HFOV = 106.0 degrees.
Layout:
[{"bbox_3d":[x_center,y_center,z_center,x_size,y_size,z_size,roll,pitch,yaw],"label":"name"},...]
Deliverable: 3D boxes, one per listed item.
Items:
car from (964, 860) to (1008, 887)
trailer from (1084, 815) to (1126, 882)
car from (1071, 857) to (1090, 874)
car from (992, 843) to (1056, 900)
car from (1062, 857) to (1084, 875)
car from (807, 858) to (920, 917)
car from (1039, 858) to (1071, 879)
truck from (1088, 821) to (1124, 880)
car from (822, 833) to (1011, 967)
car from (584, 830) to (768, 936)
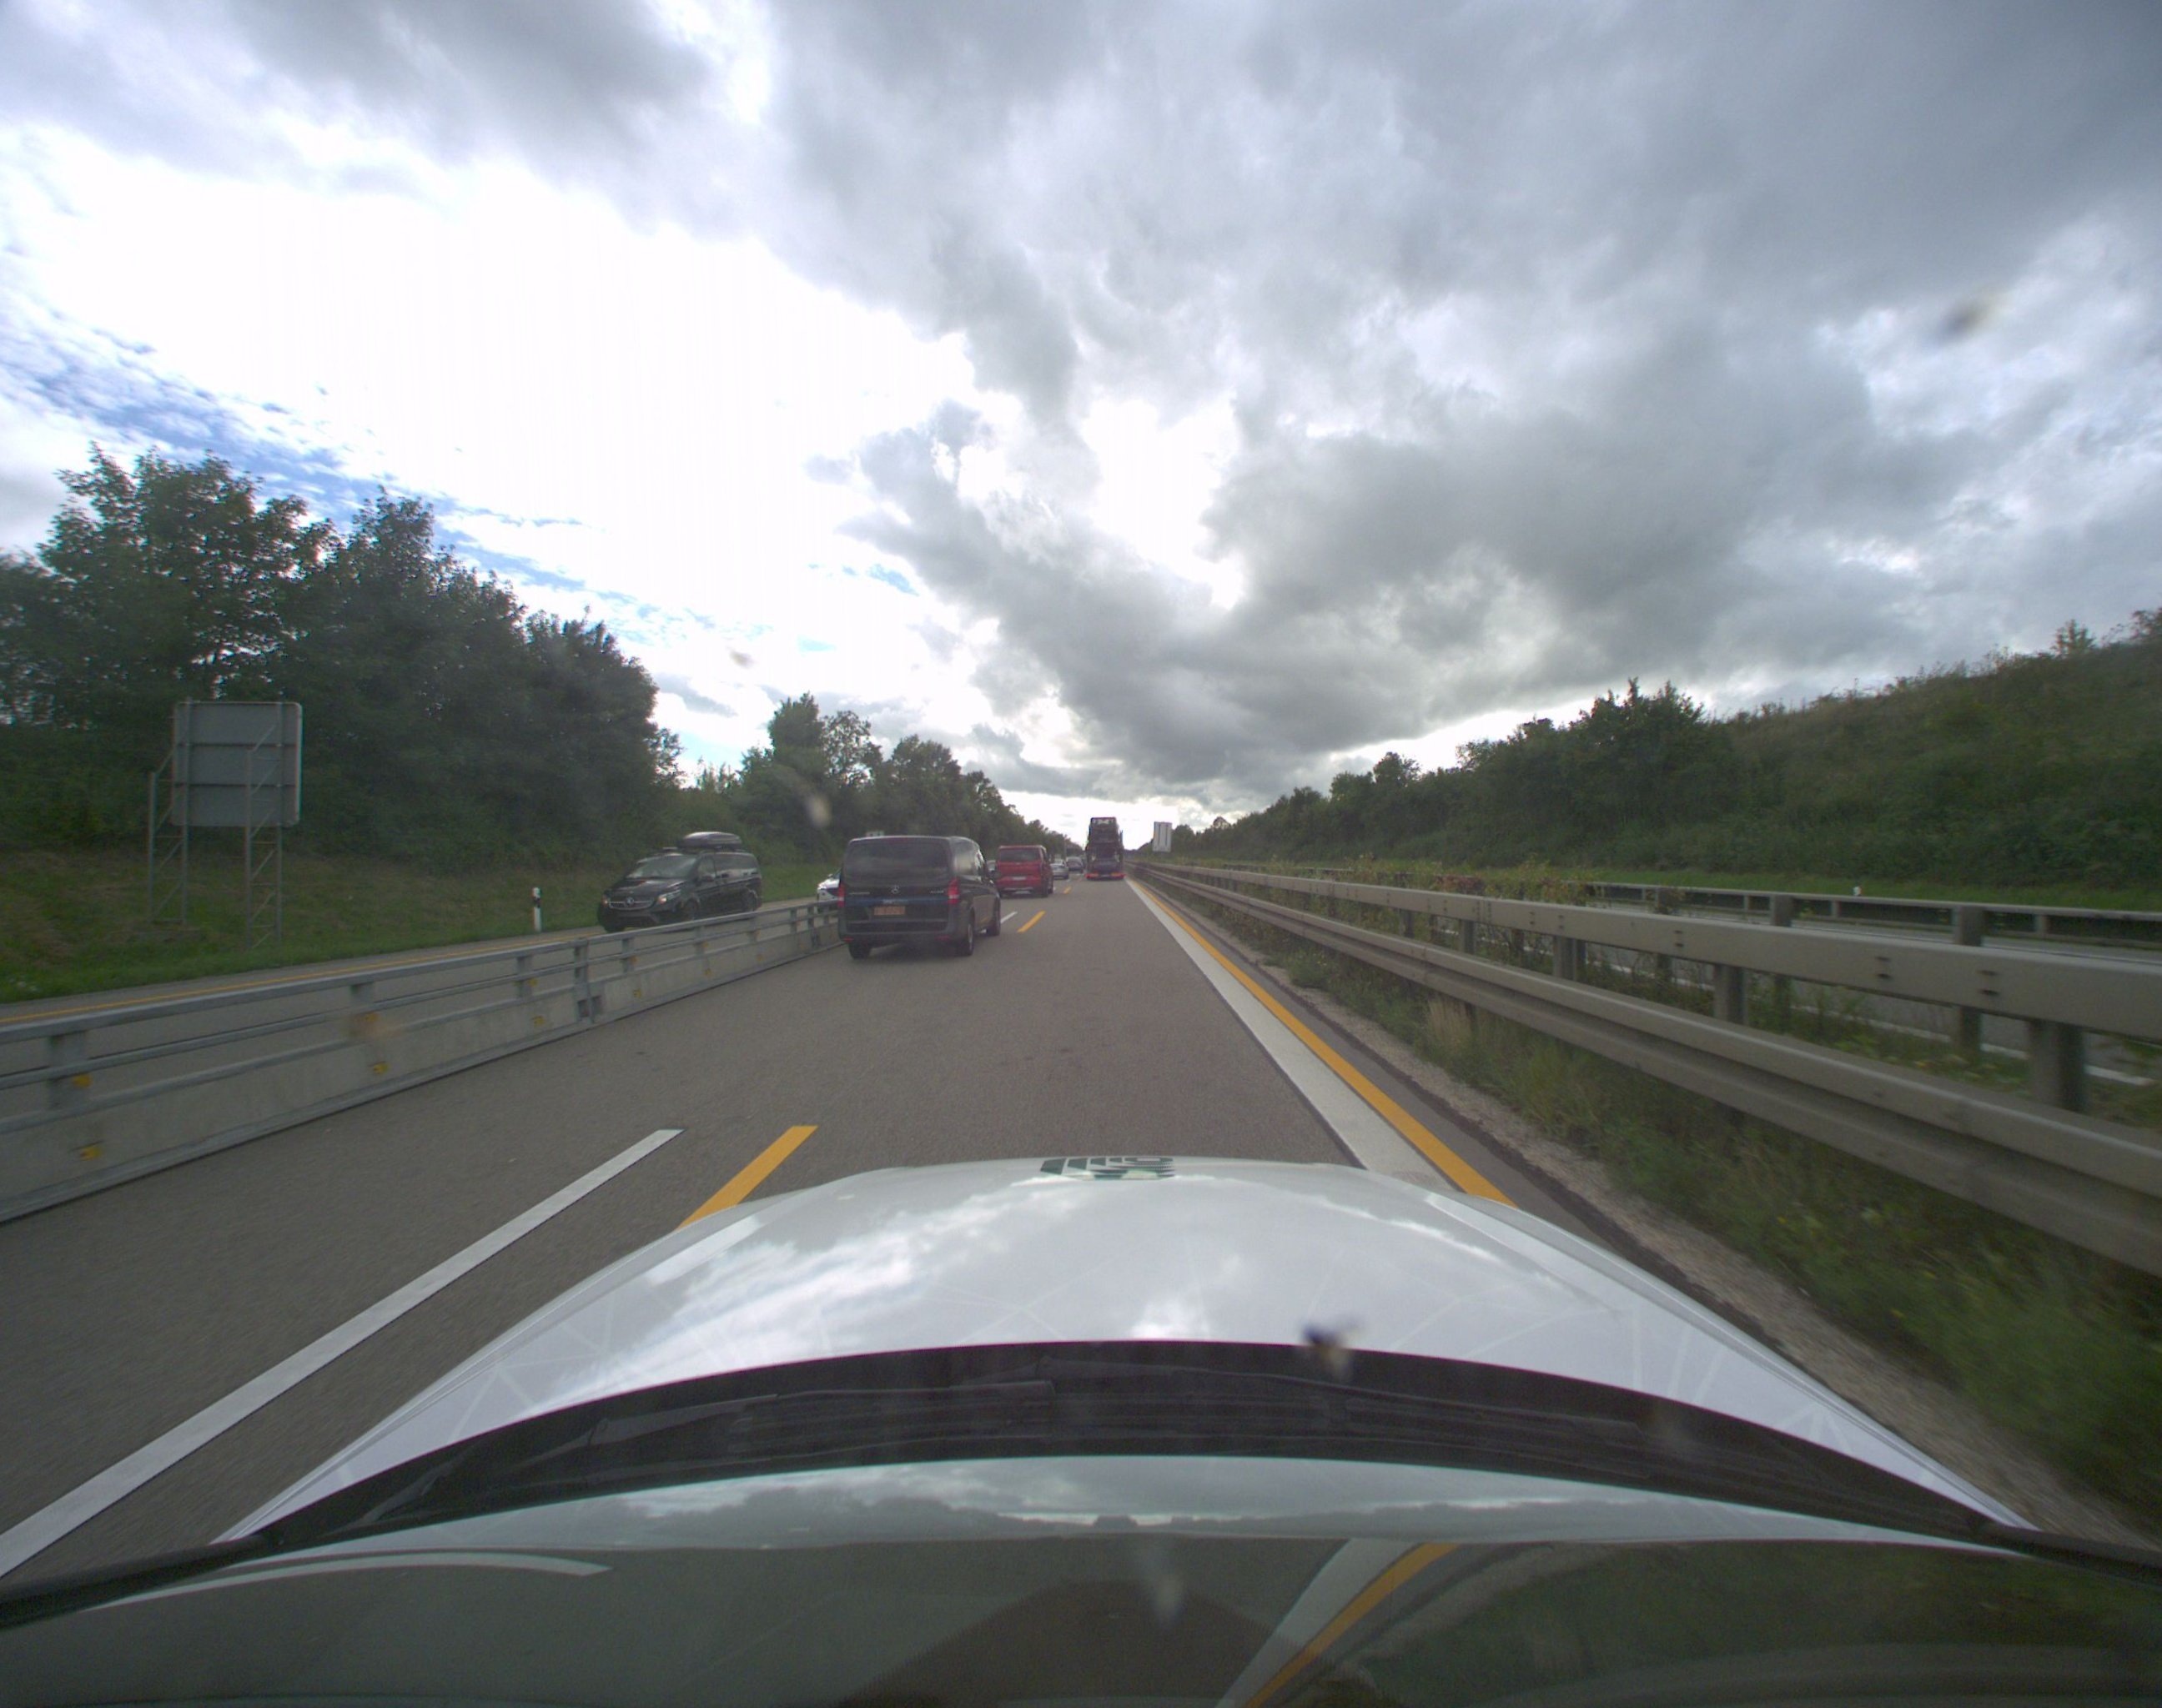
[{"bbox_3d":[-5.800,1.185,50.257,1.986,1.521,4.954,-1,0,1],"label":"car"},{"bbox_3d":[1.695,-0.290,55.724,2.505,4.105,11.119,-1,0,2],"label":"trailer"},{"bbox_3d":[0.009,1.282,92.636,2.024,1.757,4.578,-2,0,1],"label":"car"},{"bbox_3d":[-2.154,0.662,31.981,2.023,2.014,4.579,-2,0,2],"label":"car"},{"bbox_3d":[-0.786,1.176,80.763,2.024,1.757,4.578,-2,0,1],"label":"car"},{"bbox_3d":[-6.304,0.914,24.244,1.986,1.521,4.670,-1,0,1],"label":"car"},{"bbox_3d":[-1.844,1.020,58.163,2.024,1.431,4.578,-2,0,1],"label":"car"},{"bbox_3d":[1.889,-0.250,60.460,2.505,4.105,5.688,-1,-1,2],"label":"truck"},{"bbox_3d":[-2.580,0.671,14.354,1.986,1.843,5.611,-2,0,2],"label":"car"},{"bbox_3d":[-9.739,0.638,20.159,1.987,2.253,5.049,-1,0,0],"label":"car"}]
